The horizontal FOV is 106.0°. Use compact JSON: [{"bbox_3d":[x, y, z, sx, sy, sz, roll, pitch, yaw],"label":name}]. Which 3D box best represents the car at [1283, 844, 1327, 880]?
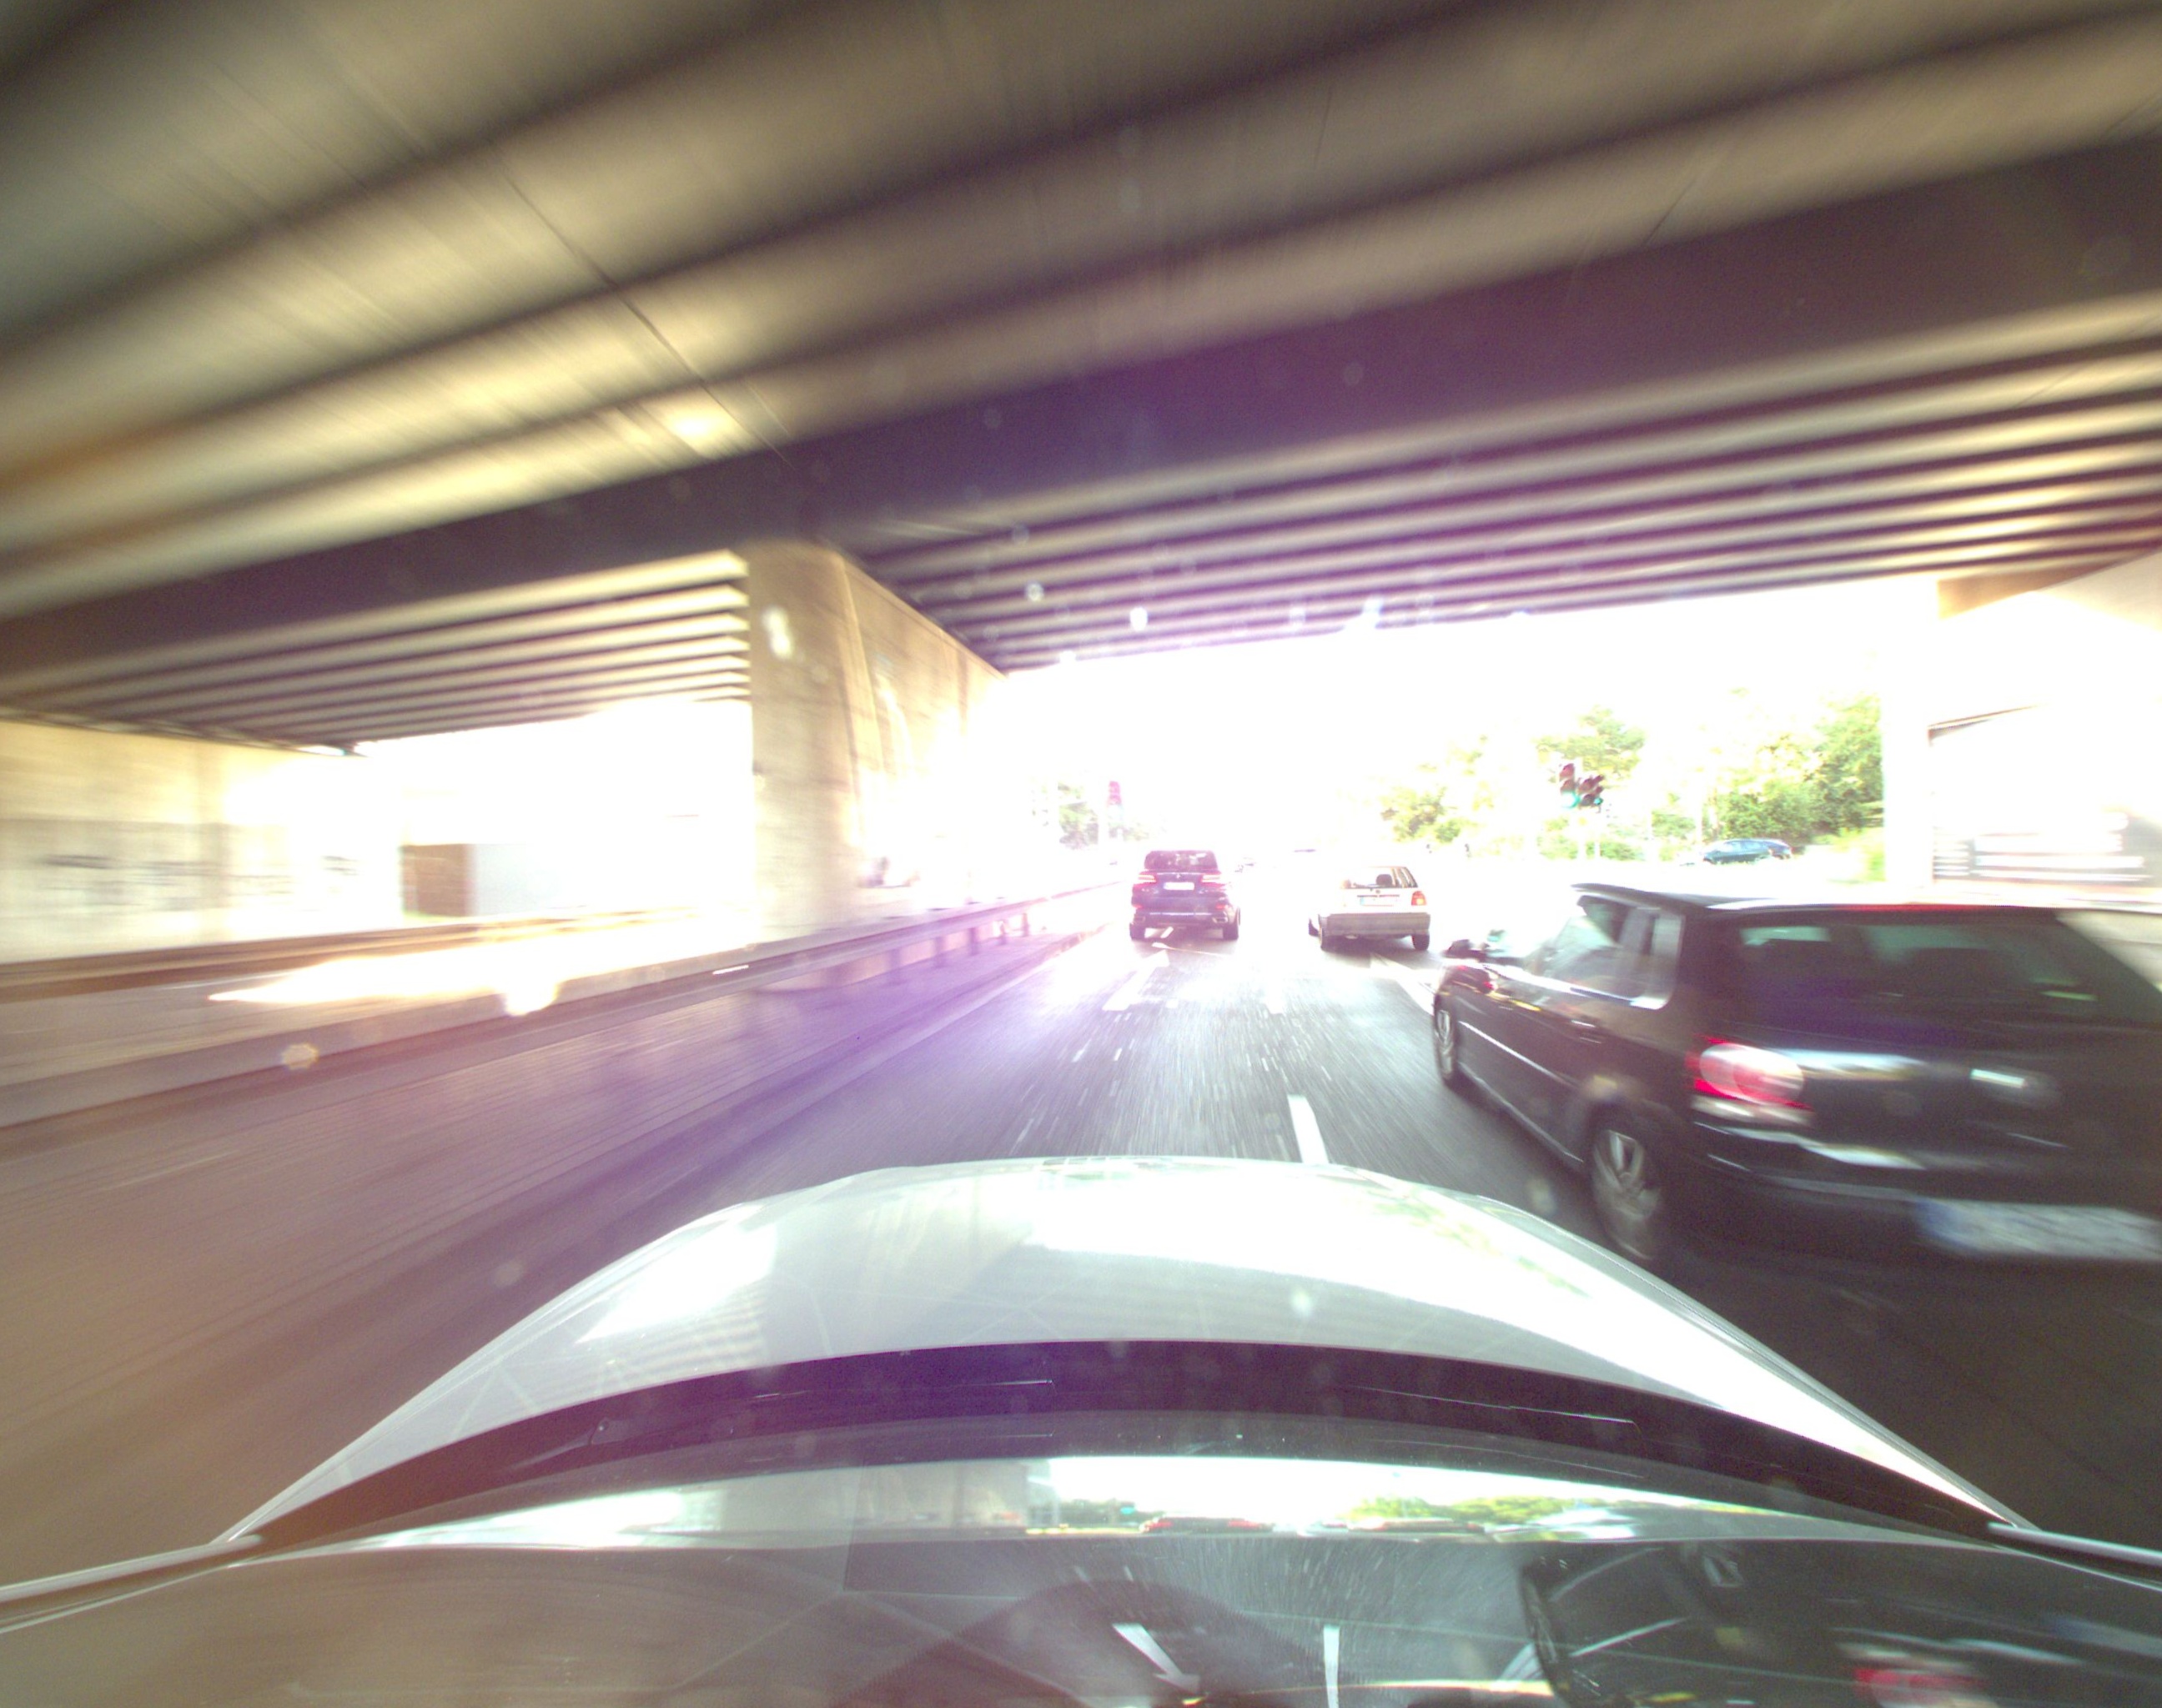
[{"bbox_3d":[10.217,0.364,37.349,1.784,1.559,4.014,0,-1,13],"label":"car"}]

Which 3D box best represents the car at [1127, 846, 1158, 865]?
[{"bbox_3d":[5.017,0.147,65.588,1.980,1.475,4.093,0,0,12],"label":"car"}]

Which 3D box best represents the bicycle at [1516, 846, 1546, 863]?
[{"bbox_3d":[29.189,0.016,52.819,1.646,0.991,0.582,-2,2,29],"label":"bicycle"}]

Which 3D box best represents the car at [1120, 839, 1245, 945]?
[{"bbox_3d":[2.128,0.644,15.853,1.980,1.734,4.548,0,-1,13],"label":"car"}]

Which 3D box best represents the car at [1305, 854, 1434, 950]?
[{"bbox_3d":[4.815,0.720,14.077,1.568,1.413,4.075,0,-1,12],"label":"car"}]

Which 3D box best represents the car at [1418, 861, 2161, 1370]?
[{"bbox_3d":[2.941,0.745,4.167,1.606,1.410,3.695,0,-1,12],"label":"car"}]

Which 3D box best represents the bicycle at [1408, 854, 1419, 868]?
[{"bbox_3d":[21.773,0.467,53.301,0.434,0.914,1.030,-3,-1,13],"label":"bicycle"}]

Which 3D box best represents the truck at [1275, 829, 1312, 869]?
[{"bbox_3d":[12.719,-0.261,48.905,1.982,2.315,4.014,0,-1,13],"label":"truck"}]

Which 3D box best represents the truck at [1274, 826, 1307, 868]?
[{"bbox_3d":[13.711,-0.408,53.537,1.982,2.669,4.014,0,-1,13],"label":"truck"}]

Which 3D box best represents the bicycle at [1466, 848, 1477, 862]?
[{"bbox_3d":[26.231,0.075,54.725,0.434,0.914,1.030,0,-1,13],"label":"bicycle"}]

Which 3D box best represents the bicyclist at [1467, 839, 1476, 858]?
[{"bbox_3d":[26.230,-0.376,54.730,0.424,1.309,0.461,0,-1,13],"label":"bicyclist"}]

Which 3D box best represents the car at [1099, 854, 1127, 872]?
[{"bbox_3d":[3.386,0.957,85.139,1.980,1.697,4.695,-5,-1,11],"label":"car"}]

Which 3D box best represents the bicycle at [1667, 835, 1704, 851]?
[{"bbox_3d":[37.801,-0.684,50.952,1.775,0.980,0.643,0,-1,27],"label":"bicycle"}]

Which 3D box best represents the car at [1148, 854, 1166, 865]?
[{"bbox_3d":[11.152,0.768,119.010,1.981,1.400,4.362,-5,-1,11],"label":"car"}]

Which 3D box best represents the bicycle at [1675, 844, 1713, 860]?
[{"bbox_3d":[37.264,-0.119,49.537,1.775,0.980,0.643,0,1,27],"label":"bicycle"}]

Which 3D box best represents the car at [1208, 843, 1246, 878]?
[{"bbox_3d":[7.401,0.311,41.066,1.605,1.679,3.697,0,-1,15],"label":"car"}]

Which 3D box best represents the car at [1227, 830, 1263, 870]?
[{"bbox_3d":[11.101,-0.245,55.453,2.125,2.576,5.098,0,-1,8],"label":"car"}]

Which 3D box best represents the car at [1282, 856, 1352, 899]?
[{"bbox_3d":[7.701,0.721,26.859,1.980,1.295,4.014,0,-1,13],"label":"car"}]

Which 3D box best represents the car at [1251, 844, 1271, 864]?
[{"bbox_3d":[15.315,0.002,69.355,1.606,1.679,3.695,0,-1,12],"label":"car"}]

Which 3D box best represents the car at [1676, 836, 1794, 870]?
[{"bbox_3d":[31.089,-0.044,38.843,3.955,1.530,2.009,0,-1,18],"label":"car"}]

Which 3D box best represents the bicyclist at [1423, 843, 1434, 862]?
[{"bbox_3d":[24.391,-0.091,57.187,0.540,1.316,0.838,0,-1,12],"label":"bicyclist"}]

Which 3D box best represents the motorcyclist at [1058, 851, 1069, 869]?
[{"bbox_3d":[-1.358,0.461,64.099,0.676,1.424,0.871,0,-1,15],"label":"motorcyclist"}]

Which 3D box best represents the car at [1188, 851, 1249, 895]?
[{"bbox_3d":[4.804,0.614,28.075,1.604,1.410,3.699,0,-1,17],"label":"car"}]

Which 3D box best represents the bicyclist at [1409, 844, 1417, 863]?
[{"bbox_3d":[21.796,-0.012,53.450,0.424,1.233,0.461,-2,-1,13],"label":"bicyclist"}]

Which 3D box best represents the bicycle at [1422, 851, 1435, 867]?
[{"bbox_3d":[24.389,0.365,57.232,0.561,1.112,1.627,0,-1,13],"label":"bicycle"}]

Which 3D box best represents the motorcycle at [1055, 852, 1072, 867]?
[{"bbox_3d":[-1.354,0.447,64.135,0.675,1.156,2.248,0,-1,16],"label":"motorcycle"}]

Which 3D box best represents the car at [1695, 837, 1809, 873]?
[{"bbox_3d":[33.173,0.069,40.366,3.955,1.694,1.871,0,-1,18],"label":"car"}]
